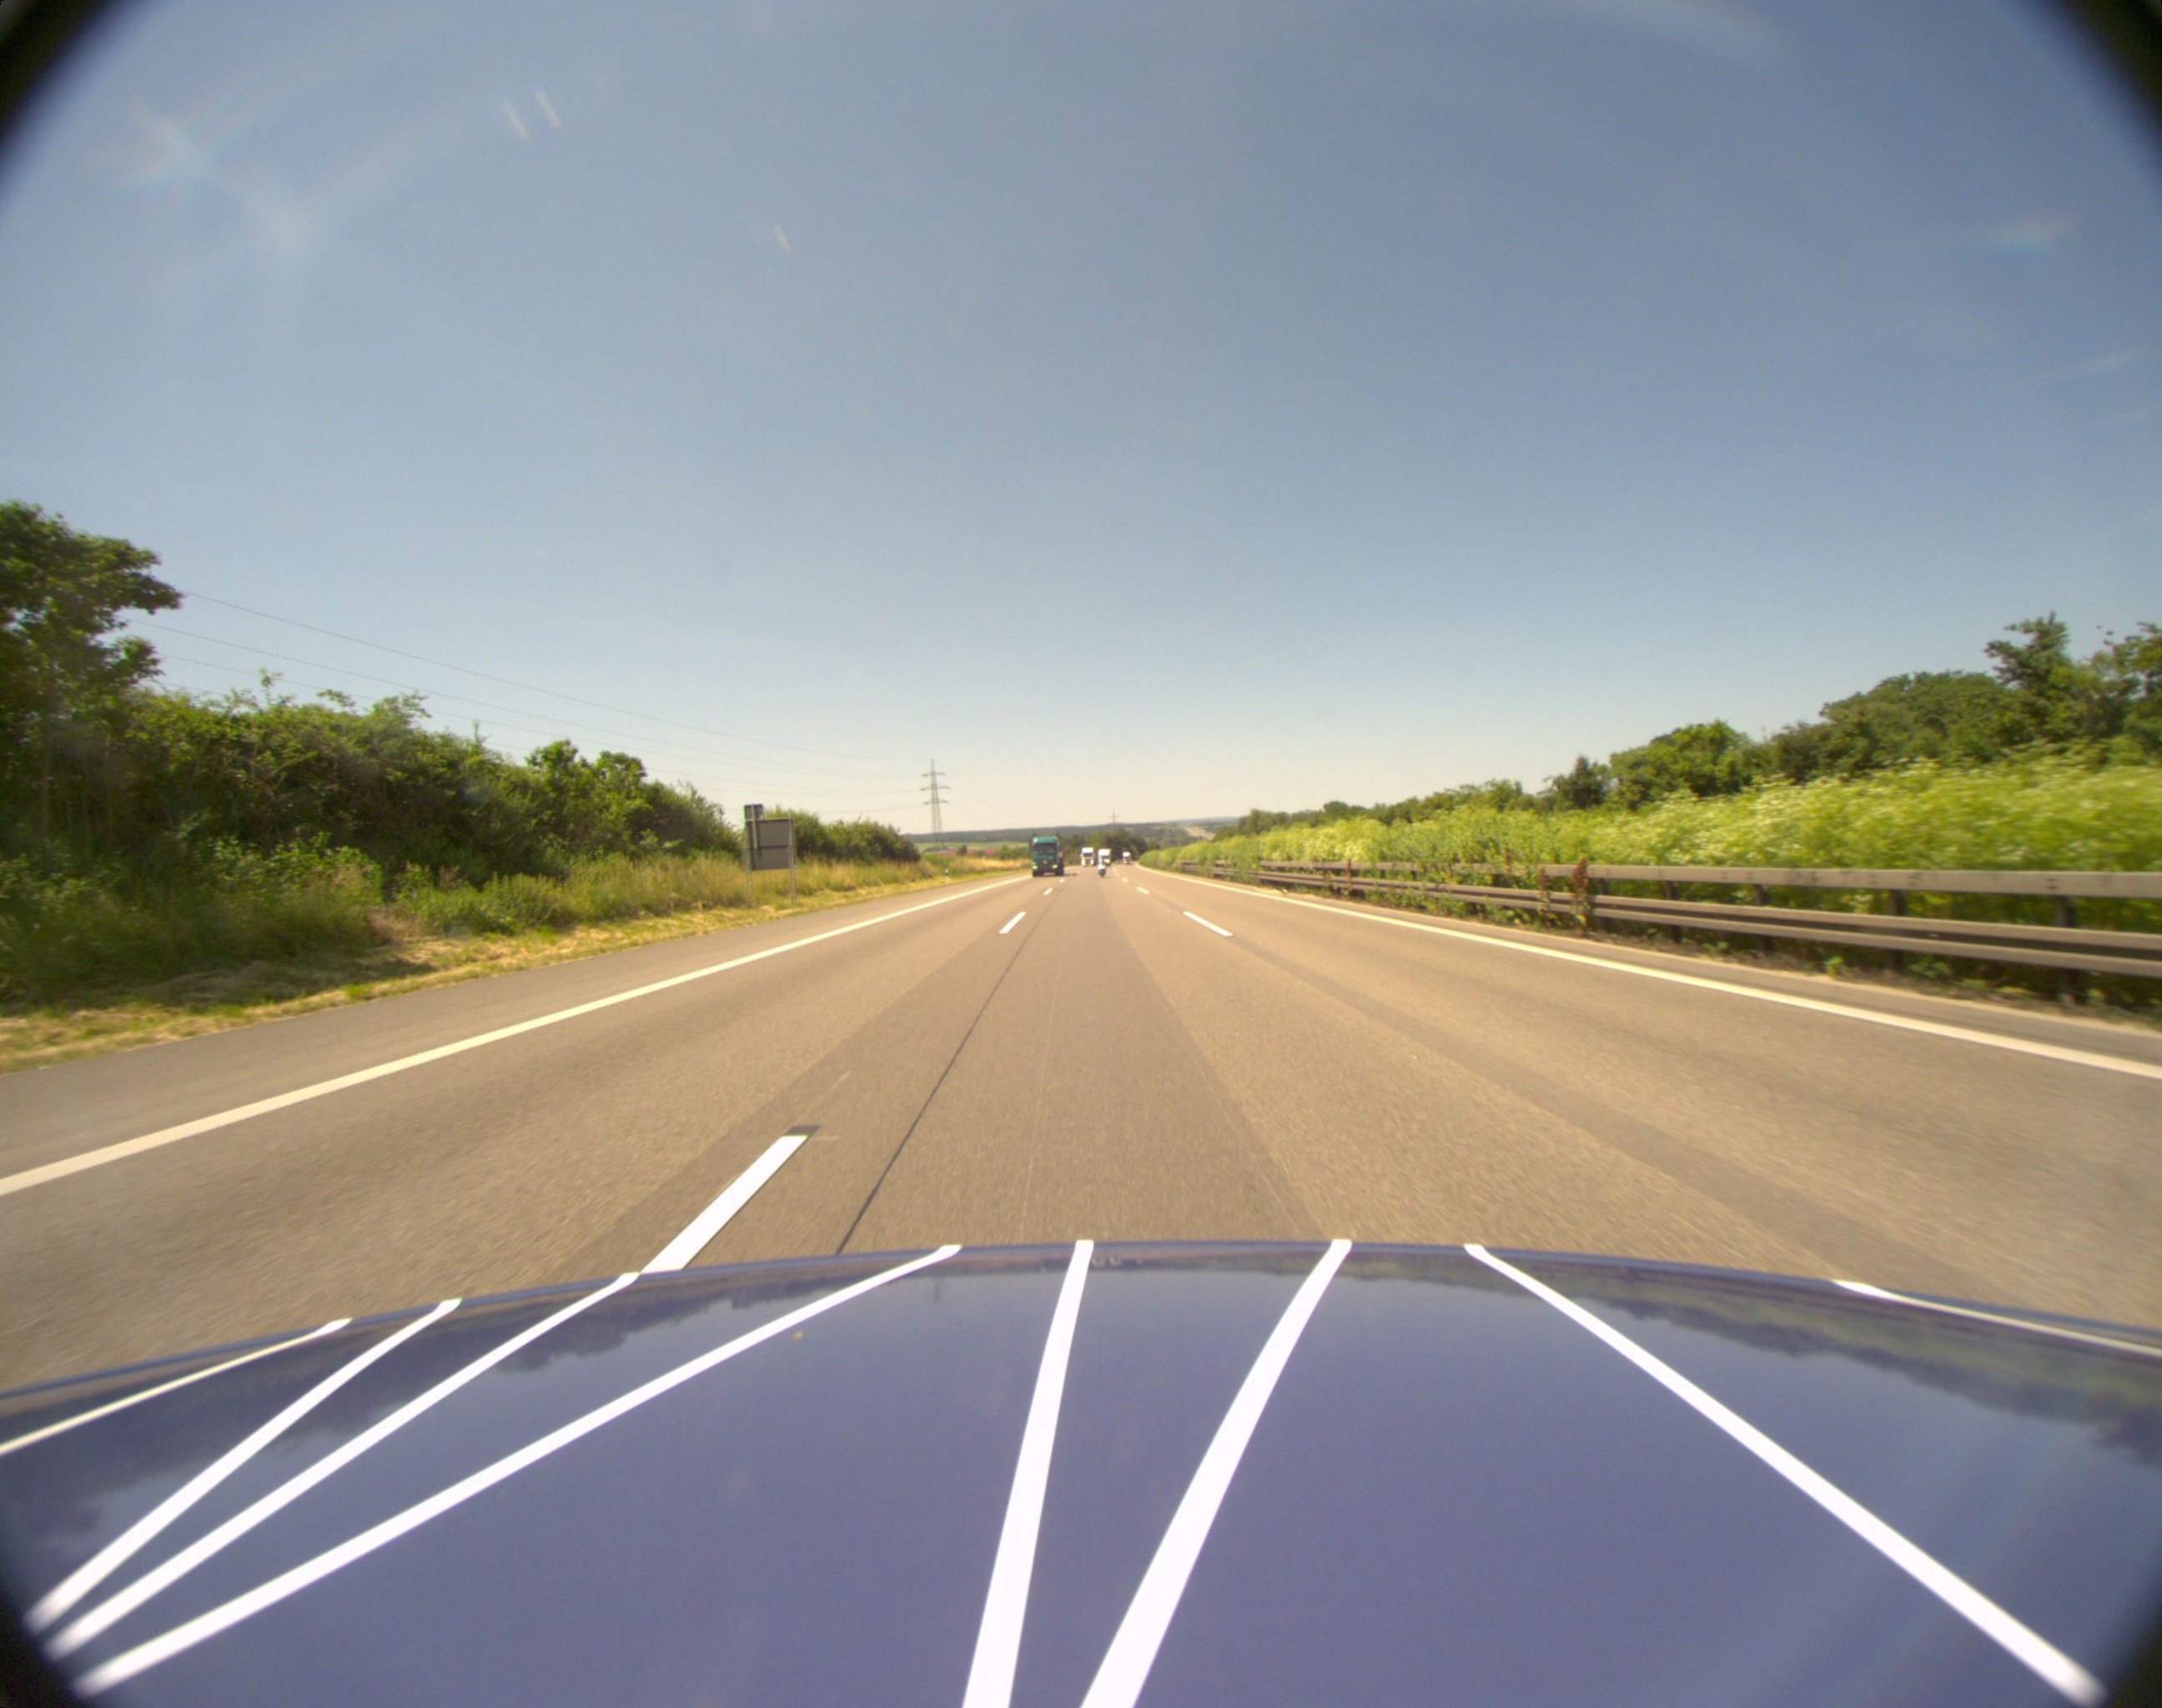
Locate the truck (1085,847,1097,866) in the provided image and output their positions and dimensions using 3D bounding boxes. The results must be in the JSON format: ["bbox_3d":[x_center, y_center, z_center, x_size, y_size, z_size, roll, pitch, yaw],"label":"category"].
[{"bbox_3d":[2.292,0.540,171.074,2.567,4.129,6.249,-2,0,1],"label":"truck"}]

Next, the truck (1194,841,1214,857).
[{"bbox_3d":[28.699,-1.188,178.251,2.680,3.497,17.042,-2,0,2],"label":"truck"}]

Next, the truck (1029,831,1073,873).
[{"bbox_3d":[-2.748,-0.164,74.414,2.871,3.702,12.766,-2,0,4],"label":"truck"}]

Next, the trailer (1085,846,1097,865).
[{"bbox_3d":[2.374,0.438,178.796,2.607,4.238,13.034,-2,0,1],"label":"trailer"}]

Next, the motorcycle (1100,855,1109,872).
[{"bbox_3d":[1.883,0.727,60.071,0.631,1.279,2.313,-2,0,2],"label":"motorcycle"}]

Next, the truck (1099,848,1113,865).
[{"bbox_3d":[4.863,0.424,148.296,2.512,3.268,8.108,-1,0,3],"label":"truck"}]

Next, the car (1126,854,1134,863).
[{"bbox_3d":[11.503,1.058,177.353,1.704,1.958,4.001,-2,0,2],"label":"car"}]
